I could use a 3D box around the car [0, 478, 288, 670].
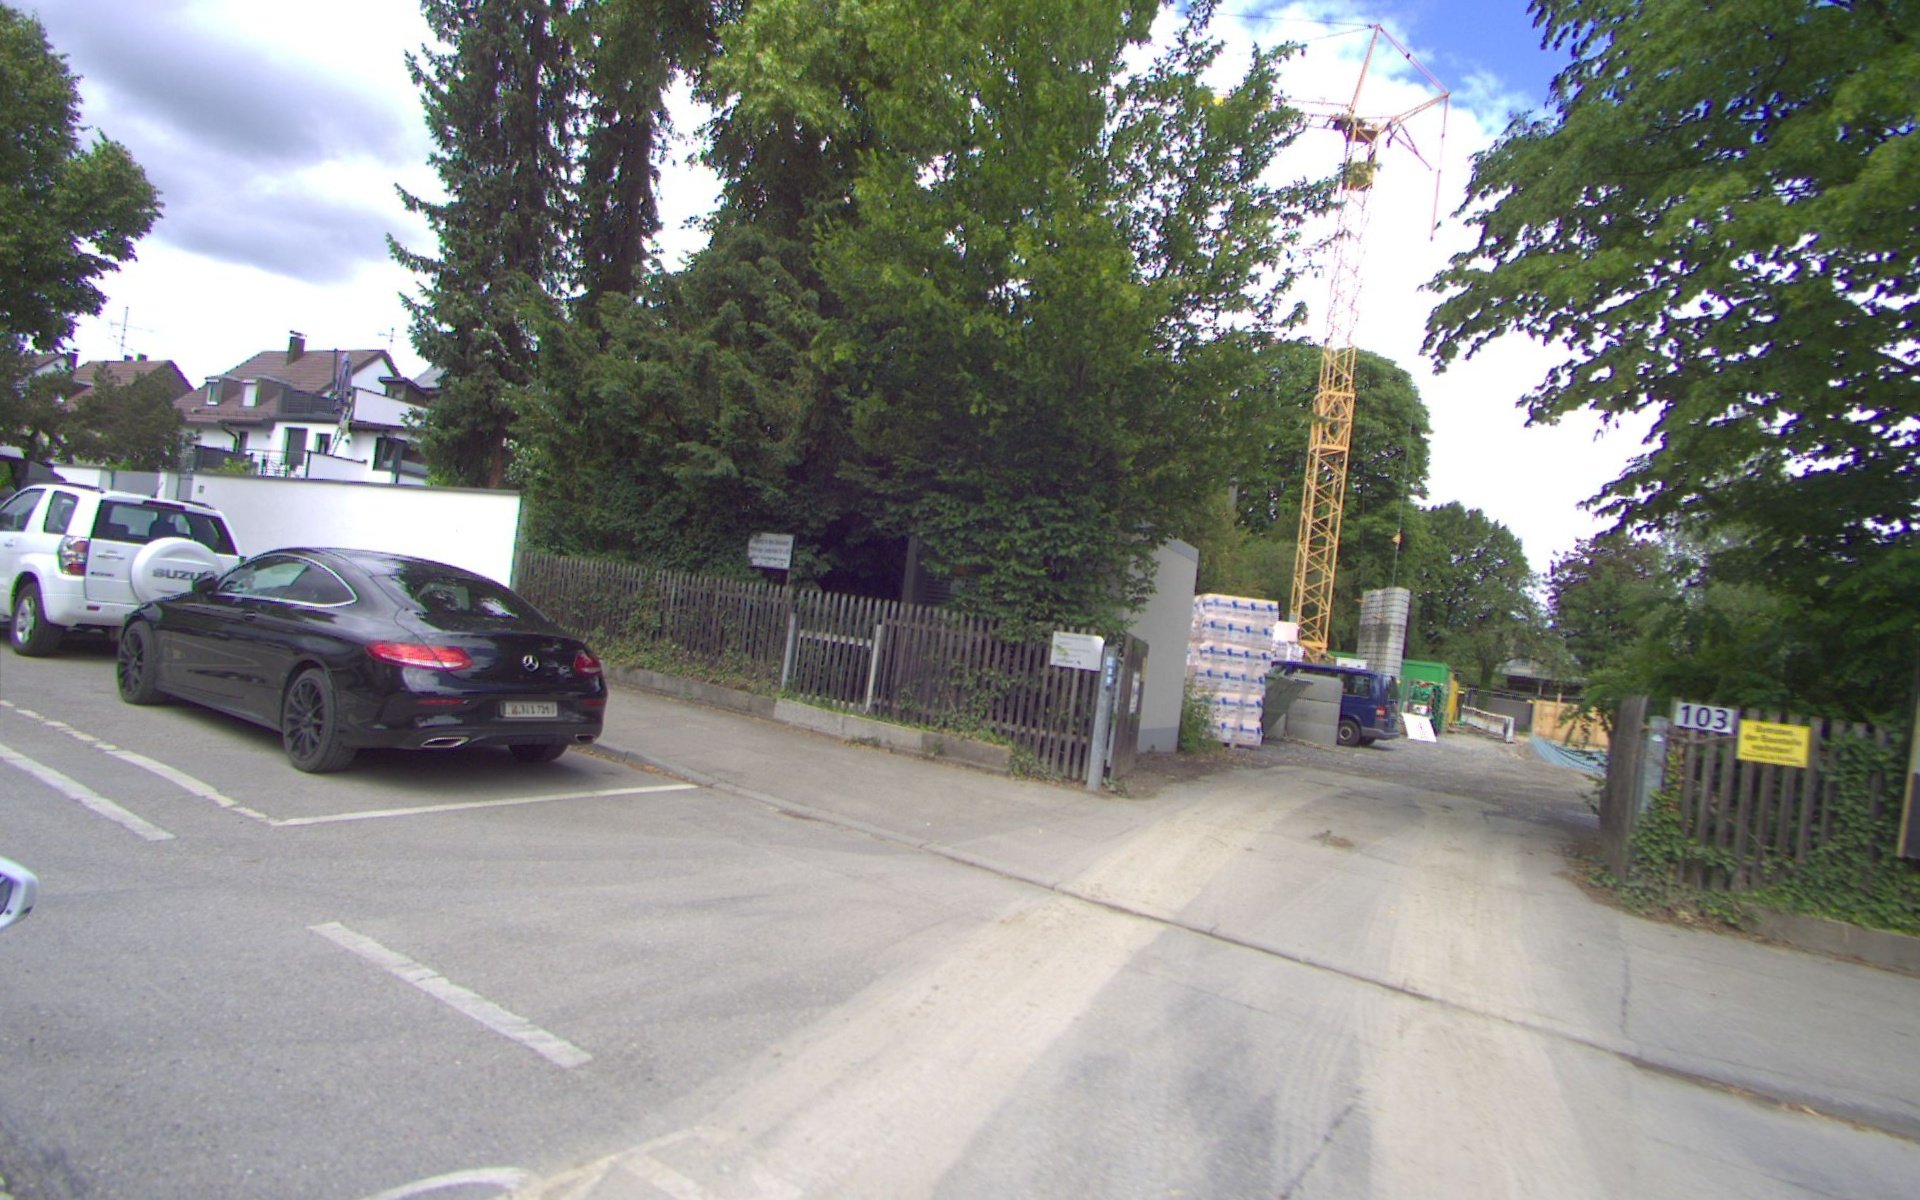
[{"bbox_3d":[-9.481,-0.341,10.967,4.047,1.662,1.904,6,-1,31],"label":"car"}]

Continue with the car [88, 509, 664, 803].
[{"bbox_3d":[-4.591,0.286,7.683,4.527,1.433,1.866,7,-1,33],"label":"car"}]

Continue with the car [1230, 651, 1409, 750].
[{"bbox_3d":[9.423,2.592,26.421,3.934,1.948,1.921,7,-1,32],"label":"car"}]
